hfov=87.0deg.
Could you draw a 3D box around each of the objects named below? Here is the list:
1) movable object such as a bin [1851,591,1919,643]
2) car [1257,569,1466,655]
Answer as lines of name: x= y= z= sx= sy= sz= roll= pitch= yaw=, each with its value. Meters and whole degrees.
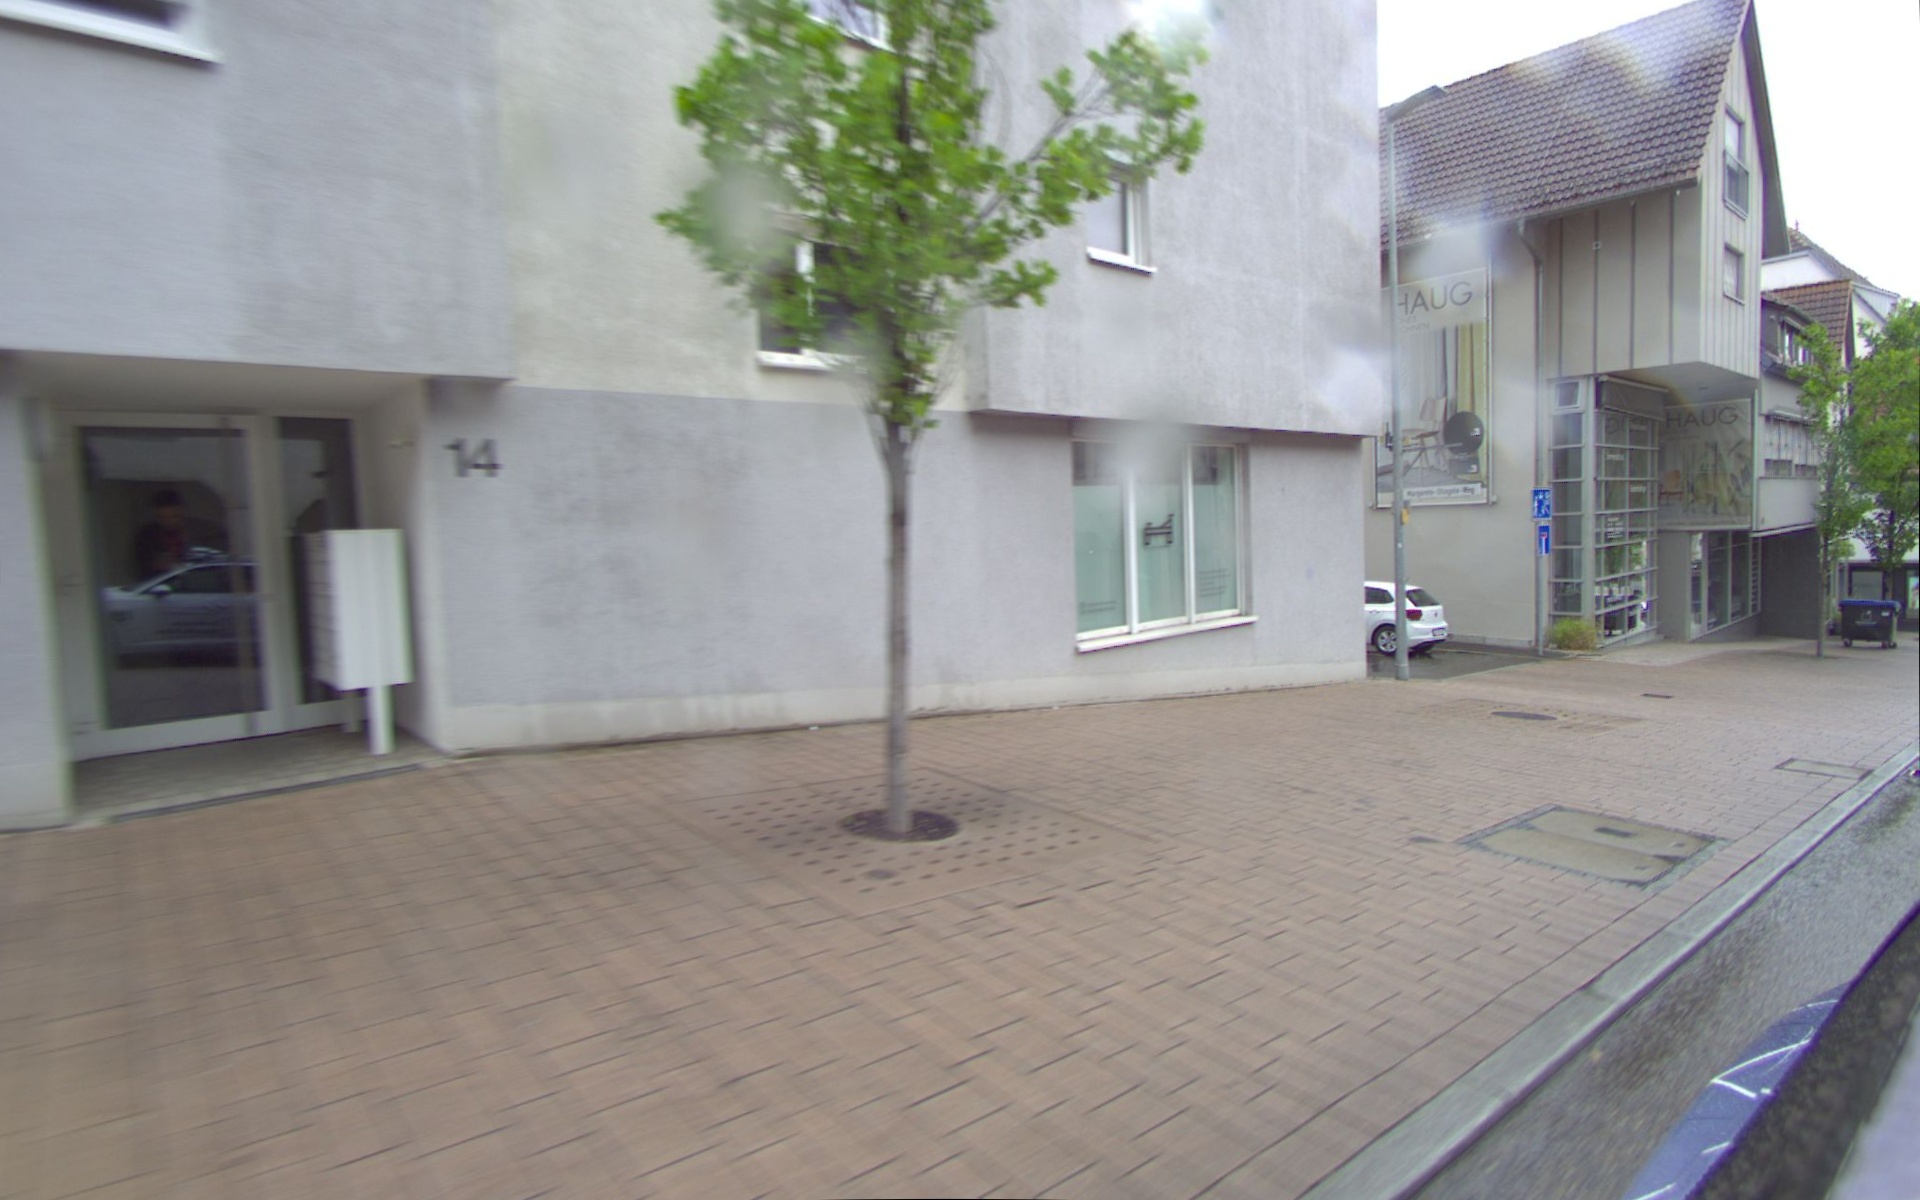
movable object such as a bin: x=25.576 y=0.456 z=27.958 sx=1.151 sy=1.351 sz=1.238 roll=1 pitch=2 yaw=-39
car: x=8.559 y=0.175 z=21.791 sx=1.714 sy=1.471 sz=3.771 roll=-1 pitch=6 yaw=-41
